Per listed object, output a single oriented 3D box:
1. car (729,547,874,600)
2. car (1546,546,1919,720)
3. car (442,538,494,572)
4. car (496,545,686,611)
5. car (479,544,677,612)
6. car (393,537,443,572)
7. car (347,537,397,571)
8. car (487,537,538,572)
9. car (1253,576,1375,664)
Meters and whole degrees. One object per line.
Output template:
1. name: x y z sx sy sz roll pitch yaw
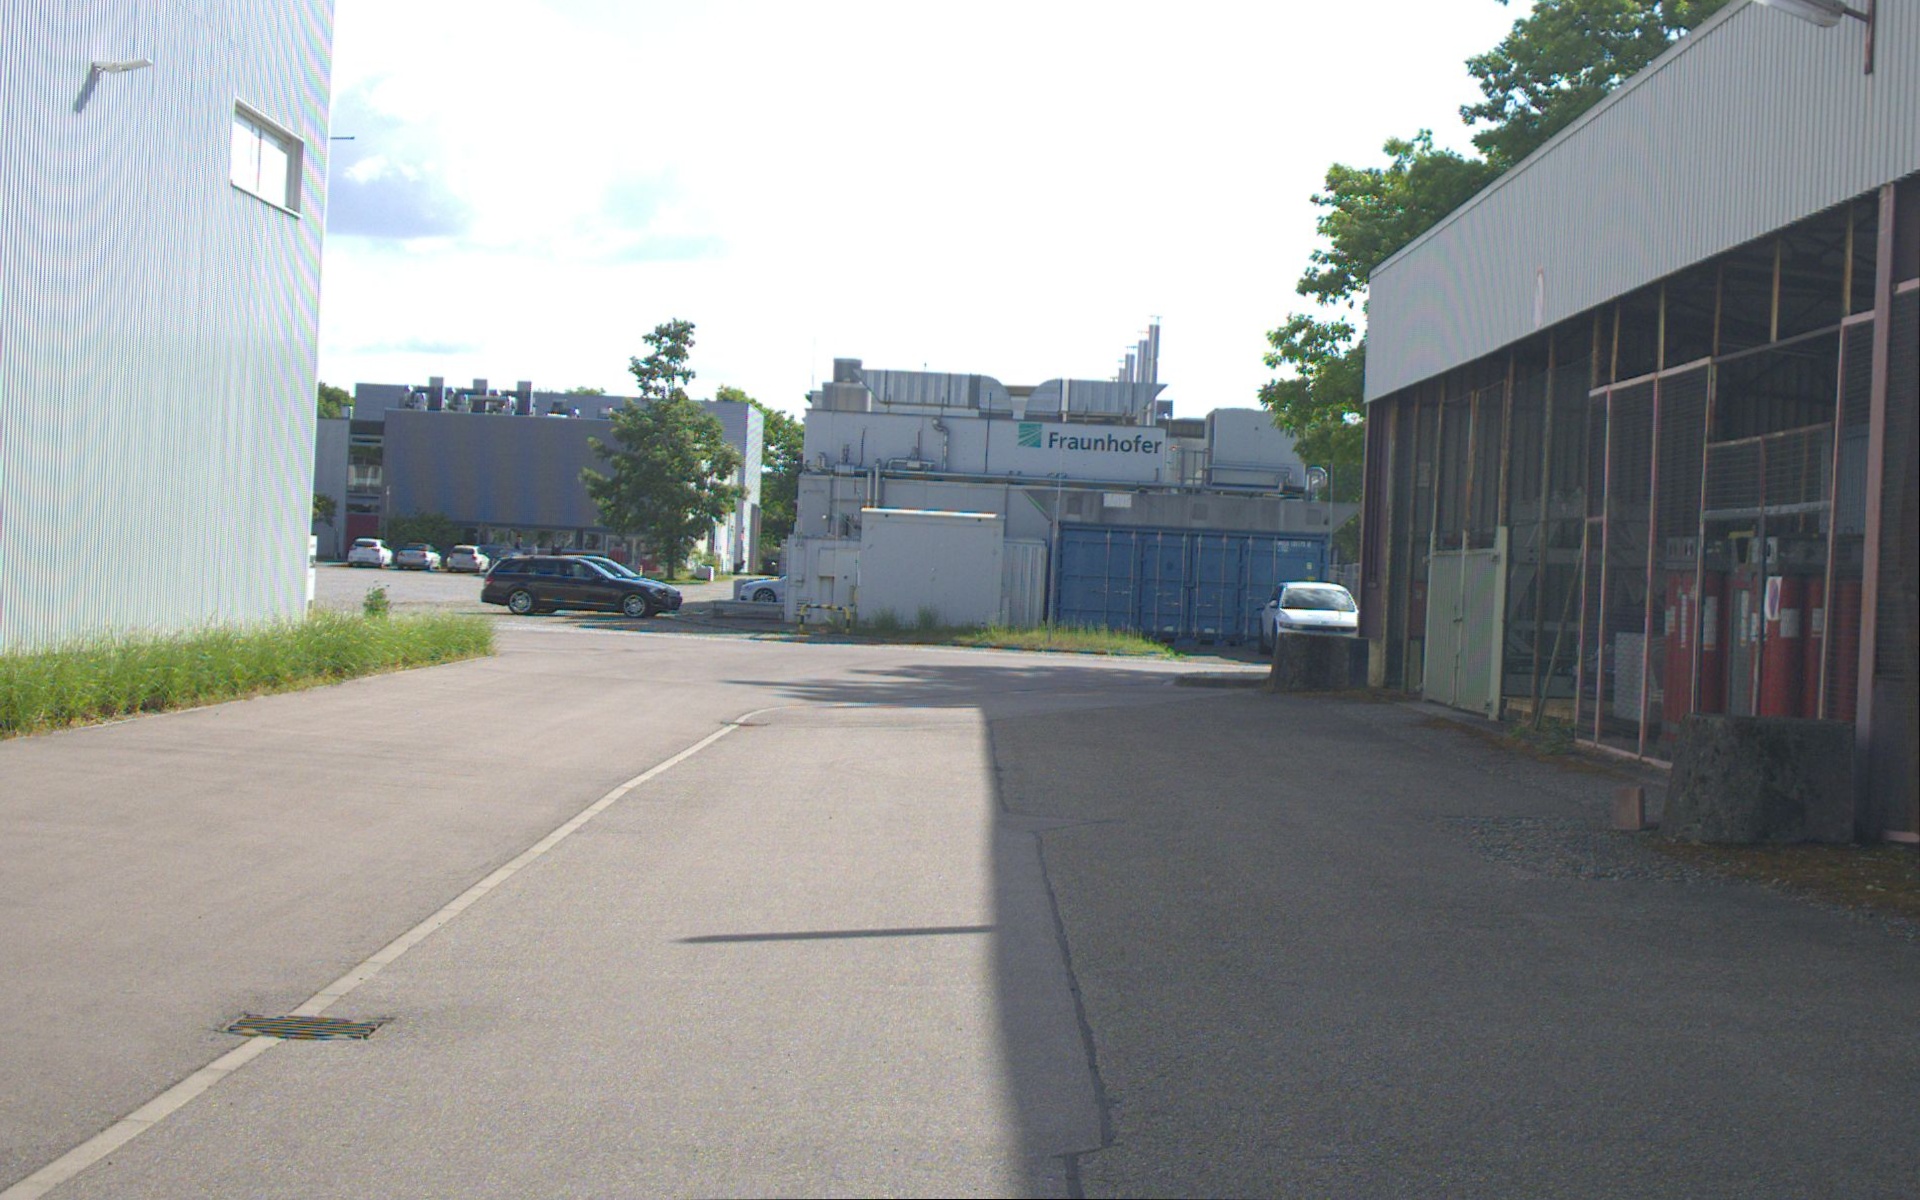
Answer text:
1. car: -5.143 -0.870 111.641 4.526 1.503 1.909 2 1 1
2. car: 9.832 0.396 40.912 5.236 1.870 2.000 2 0 -5
3. car: -25.915 -2.372 181.294 2.193 1.730 4.000 1 0 0
4. car: -9.350 -0.553 87.306 4.526 1.503 1.909 2 0 2
5. car: -9.318 -0.542 84.068 4.526 1.503 1.909 2 0 2
6. car: -28.501 -2.386 180.966 1.993 1.730 4.000 1 0 0
7. car: -30.998 -2.431 181.332 1.993 1.730 4.000 1 0 0
8. car: -23.358 -2.352 179.568 2.193 1.730 4.000 1 0 0
9. car: 7.303 0.389 71.218 1.993 1.580 4.173 2 2 0
